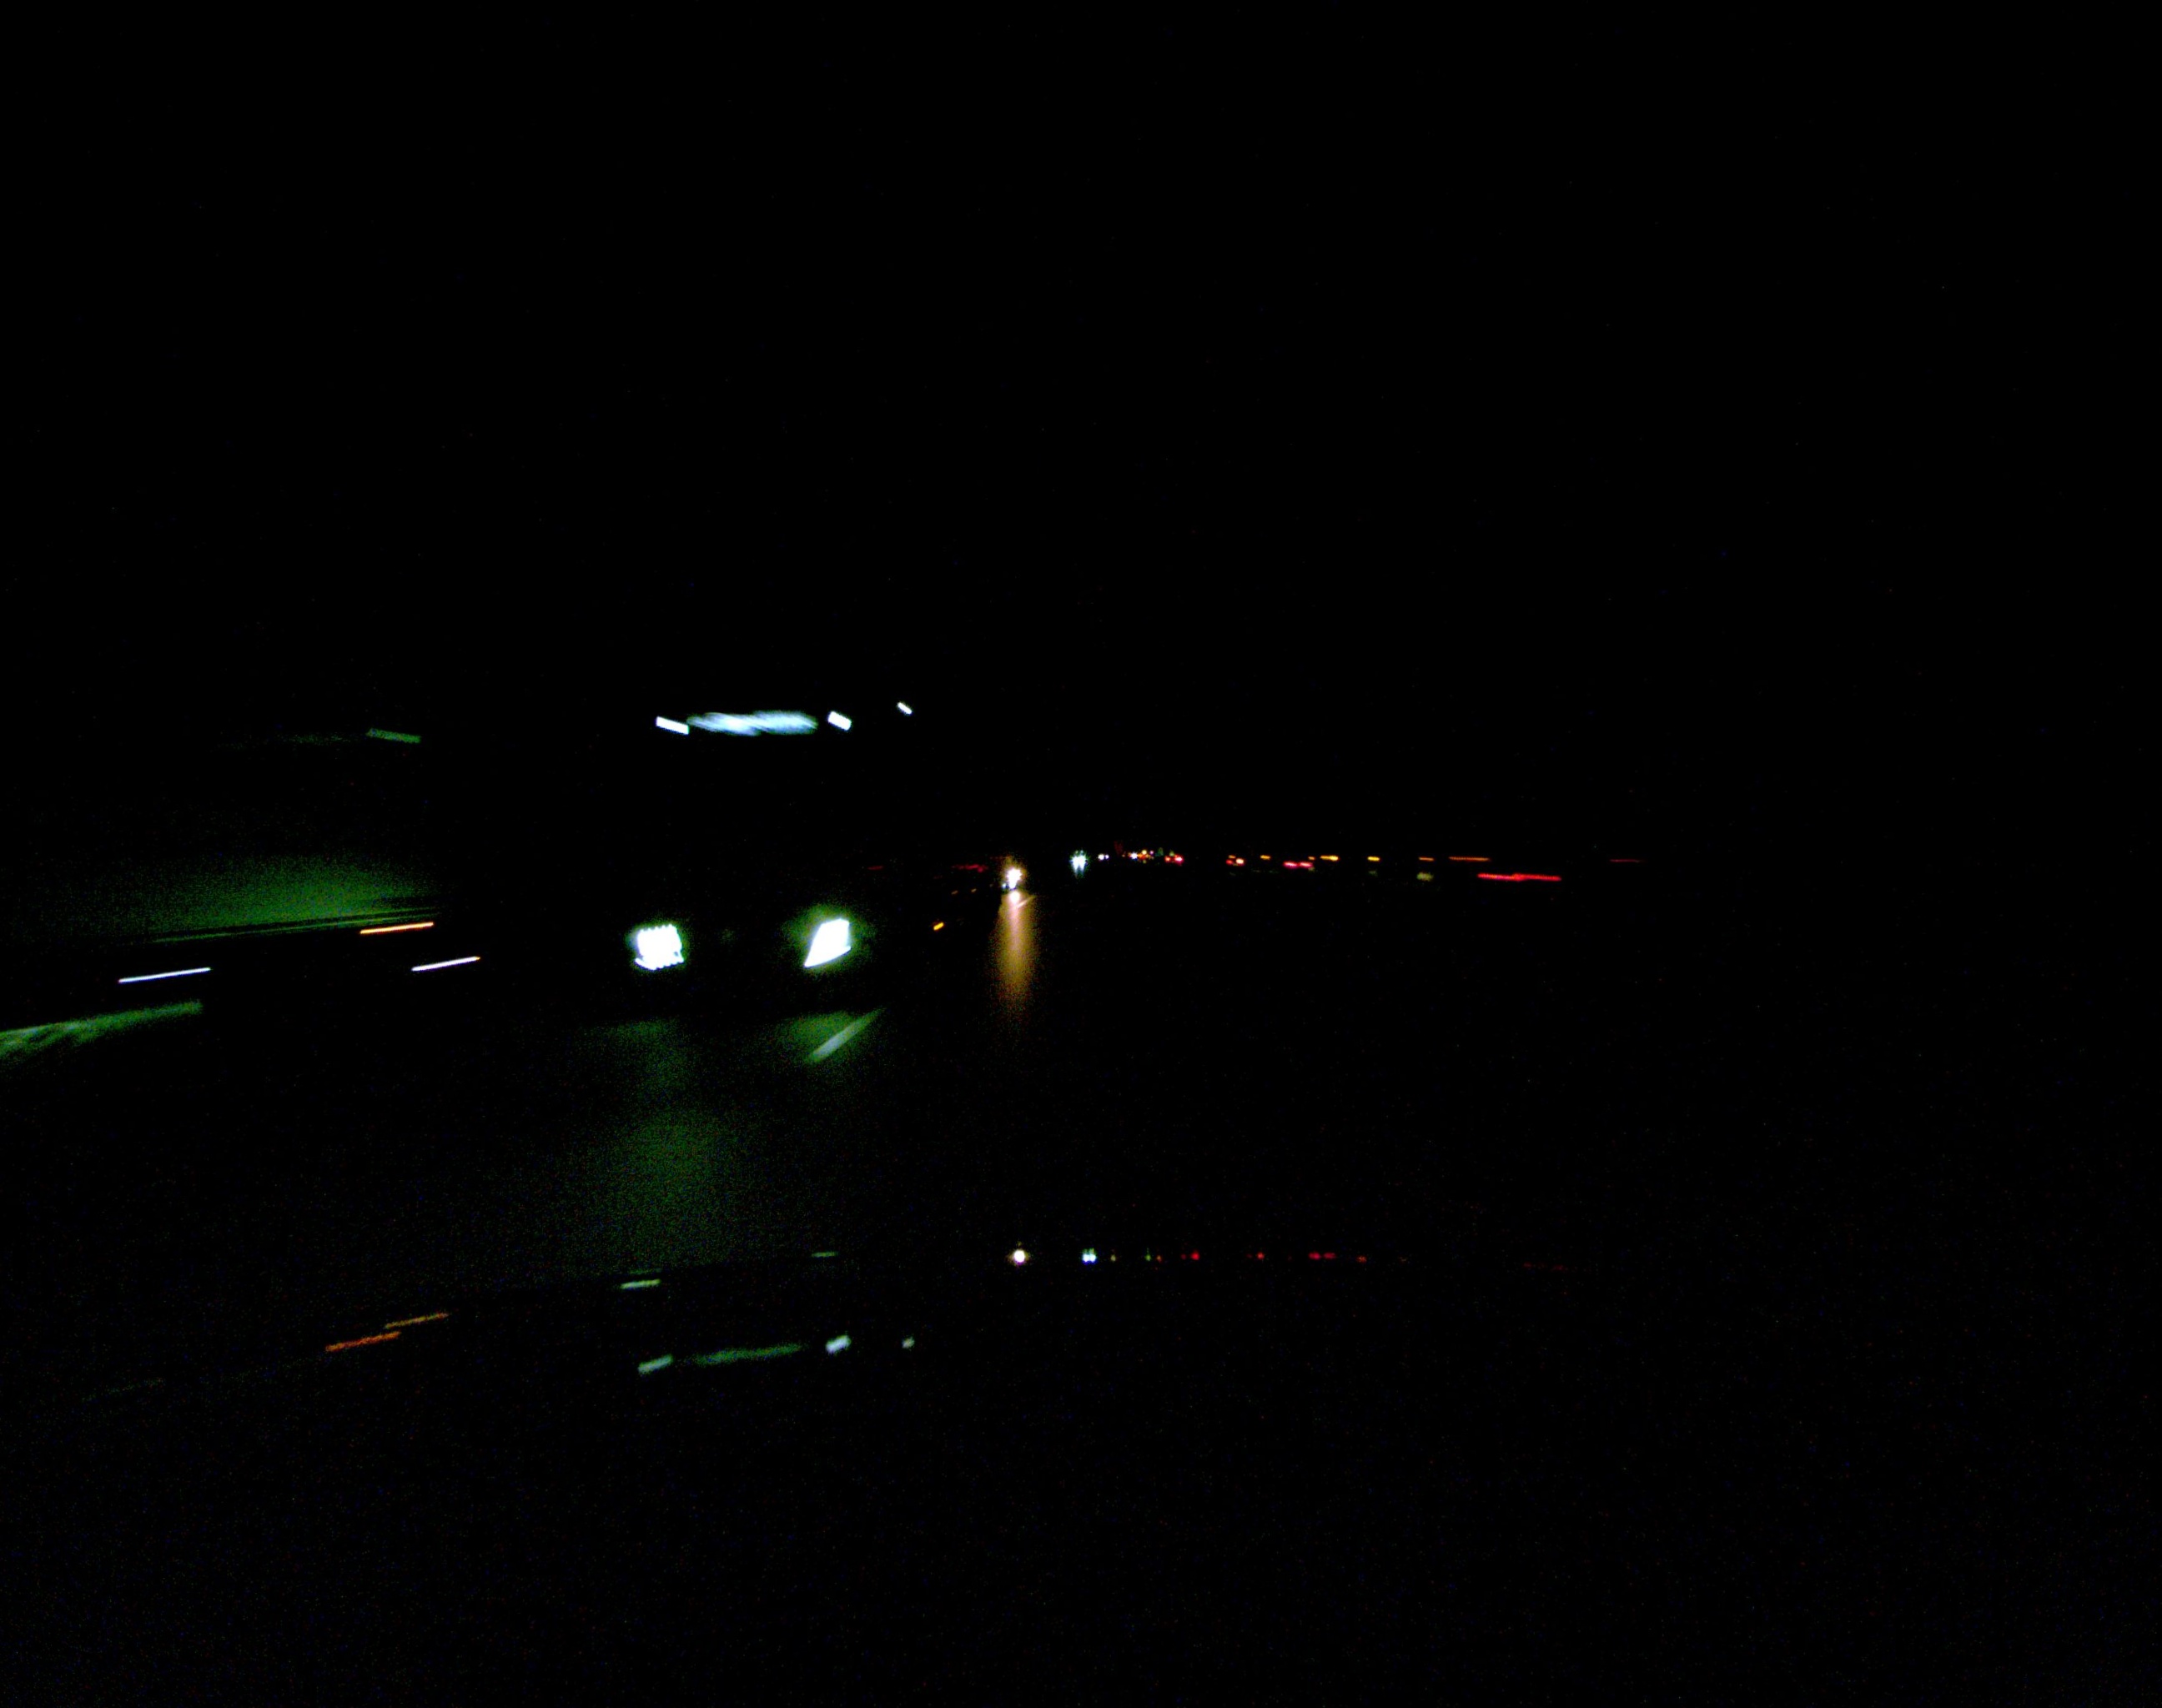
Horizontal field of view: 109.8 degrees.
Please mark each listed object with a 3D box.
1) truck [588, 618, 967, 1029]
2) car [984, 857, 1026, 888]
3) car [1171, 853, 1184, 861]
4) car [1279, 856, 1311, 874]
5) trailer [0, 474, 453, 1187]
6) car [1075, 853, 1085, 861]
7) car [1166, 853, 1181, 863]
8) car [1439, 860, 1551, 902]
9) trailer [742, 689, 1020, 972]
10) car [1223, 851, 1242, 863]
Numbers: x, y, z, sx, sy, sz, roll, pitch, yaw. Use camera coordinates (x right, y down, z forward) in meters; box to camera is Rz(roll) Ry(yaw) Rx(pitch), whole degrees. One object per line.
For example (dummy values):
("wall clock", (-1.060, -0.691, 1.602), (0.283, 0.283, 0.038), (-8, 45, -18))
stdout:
("truck", (-3.681, -0.327, 11.329), (2.668, 4.182, 6.722), (-3, 0, 1))
("car", (-3.943, 0.927, 40.053), (1.826, 1.458, 4.246), (-3, 0, -1))
("car", (18.168, 0.511, 143.005), (1.754, 1.470, 4.942), (1, 0, 1))
("car", (18.367, 0.923, 65.459), (1.754, 1.470, 4.727), (1, 0, 4))
("trailer", (-7.455, -0.093, 2.220), (2.597, 4.049, 10.008), (-3, 0, 1))
("car", (-0.153, 0.669, 179.431), (2.267, 1.842, 5.403), (-3, 0, 0))
("car", (13.816, 0.589, 113.495), (1.754, 1.470, 4.763), (1, 0, 1))
("car", (15.286, 0.944, 28.383), (1.666, 1.326, 4.809), (1, 0, 1))
("trailer", (-3.577, -0.383, 18.317), (2.749, 4.182, 13.509), (-3, 0, 1))
("car", (19.430, 0.313, 97.606), (1.754, 1.470, 4.482), (1, 0, 2))
